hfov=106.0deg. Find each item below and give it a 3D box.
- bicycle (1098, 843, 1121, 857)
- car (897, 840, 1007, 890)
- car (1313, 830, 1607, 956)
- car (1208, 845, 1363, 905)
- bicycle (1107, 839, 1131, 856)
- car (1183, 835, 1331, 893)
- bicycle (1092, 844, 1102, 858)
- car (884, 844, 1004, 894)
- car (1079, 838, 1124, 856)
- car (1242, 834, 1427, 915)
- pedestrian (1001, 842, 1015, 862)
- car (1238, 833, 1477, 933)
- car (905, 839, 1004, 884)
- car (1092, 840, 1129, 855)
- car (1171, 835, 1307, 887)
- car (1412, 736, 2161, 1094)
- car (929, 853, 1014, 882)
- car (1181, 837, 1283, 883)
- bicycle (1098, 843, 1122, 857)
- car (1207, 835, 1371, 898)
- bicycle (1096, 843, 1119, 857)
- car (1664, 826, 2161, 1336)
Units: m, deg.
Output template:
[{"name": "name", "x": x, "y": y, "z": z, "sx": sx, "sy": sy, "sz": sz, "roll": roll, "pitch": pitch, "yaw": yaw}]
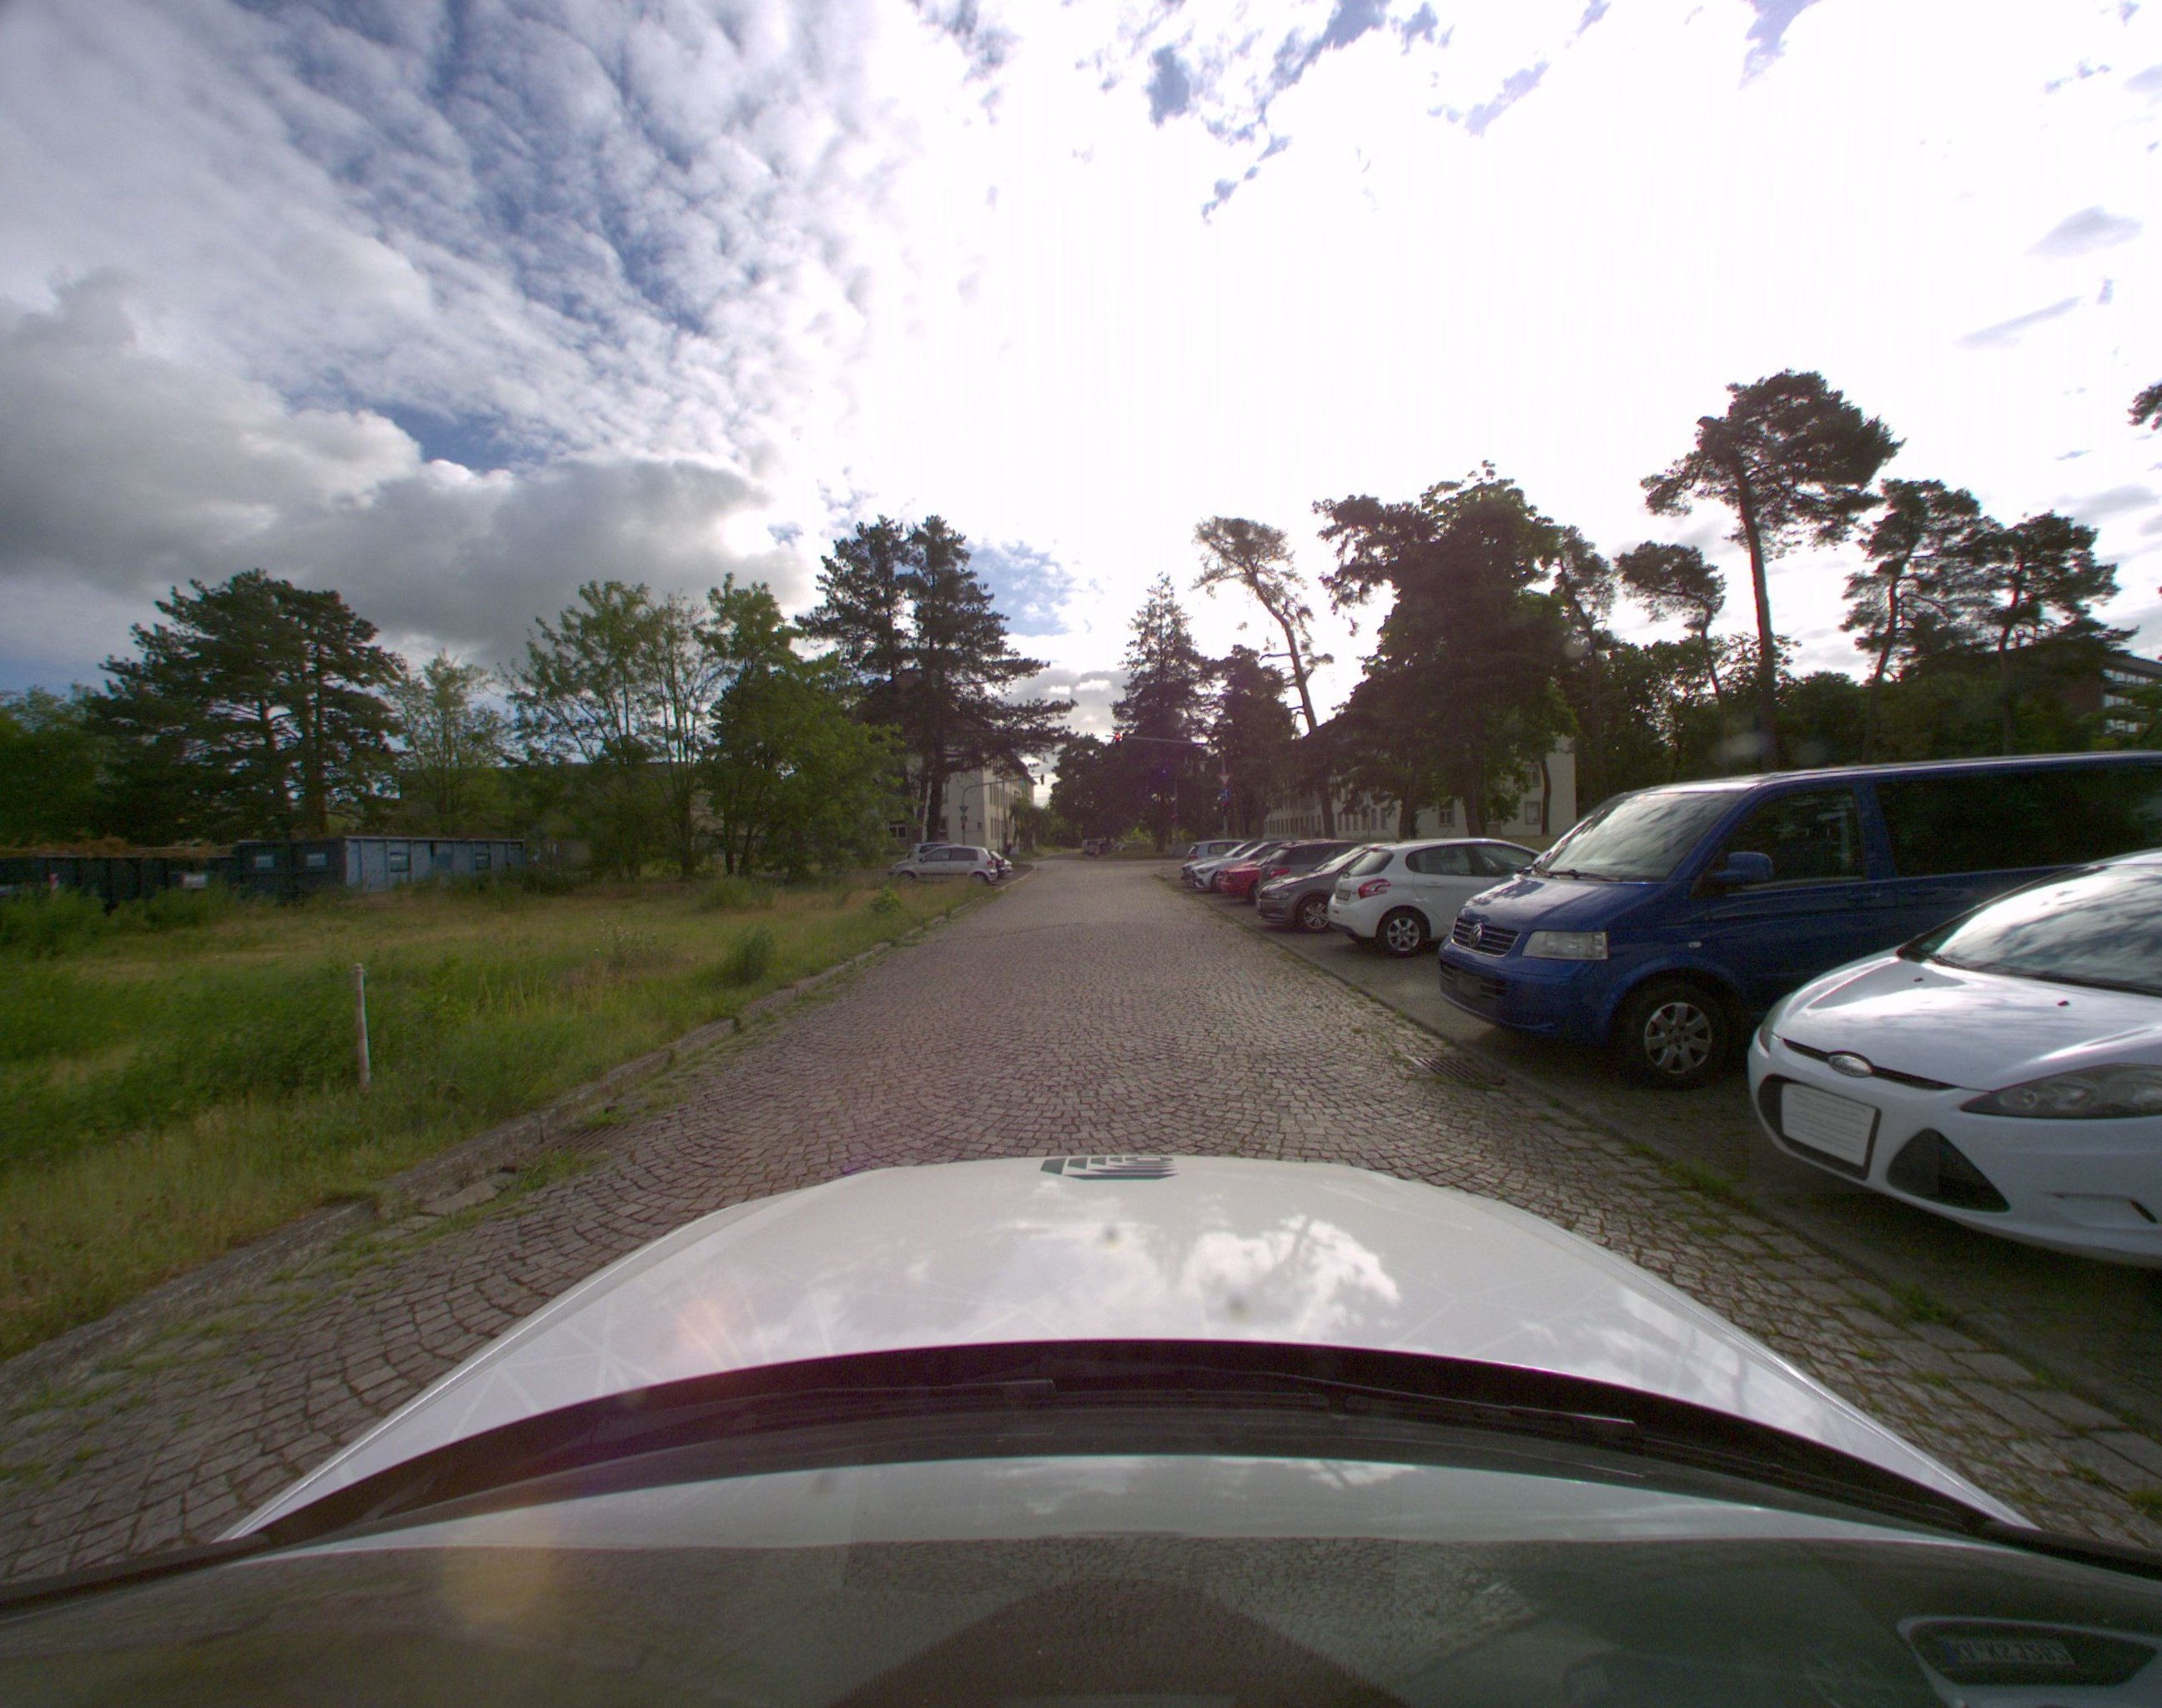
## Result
[{"name": "bicycle", "x": 2.792, "y": -0.418, "z": 79.204, "sx": 2.158, "sy": 1.268, "sz": 0.811, "roll": -1, "pitch": 1, "yaw": -6}, {"name": "car", "x": -4.878, "y": 0.385, "z": 31.321, "sx": 3.981, "sy": 1.705, "sz": 1.996, "roll": -2, "pitch": 1, "yaw": -6}, {"name": "car", "x": 5.086, "y": 0.474, "z": 11.224, "sx": 3.283, "sy": 1.504, "sz": 1.663, "roll": -2, "pitch": 1, "yaw": -2}, {"name": "car", "x": 4.912, "y": 0.473, "z": 19.774, "sx": 3.287, "sy": 1.267, "sz": 1.661, "roll": -2, "pitch": 1, "yaw": -6}, {"name": "bicycle", "x": 3.726, "y": -0.601, "z": 79.913, "sx": 2.158, "sy": 1.615, "sz": 0.811, "roll": -1, "pitch": 1, "yaw": -6}, {"name": "car", "x": 5.201, "y": 0.268, "z": 24.283, "sx": 3.981, "sy": 1.543, "sz": 1.661, "roll": -2, "pitch": 1, "yaw": -6}, {"name": "bicycle", "x": 1.490, "y": -0.297, "z": 74.858, "sx": 0.807, "sy": 1.268, "sz": 1.974, "roll": -1, "pitch": 1, "yaw": 2}, {"name": "car", "x": -4.771, "y": 0.500, "z": 28.831, "sx": 3.981, "sy": 1.552, "sz": 1.996, "roll": -2, "pitch": 1, "yaw": -6}, {"name": "car", "x": 2.447, "y": -0.863, "z": 96.439, "sx": 5.051, "sy": 2.013, "sz": 1.993, "roll": -1, "pitch": 1, "yaw": -10}, {"name": "car", "x": 5.253, "y": 0.384, "z": 17.058, "sx": 3.293, "sy": 1.504, "sz": 1.658, "roll": -2, "pitch": 1, "yaw": -10}, {"name": "pedestrian", "x": -5.672, "y": -0.143, "z": 63.191, "sx": 0.895, "sy": 1.498, "sz": 0.904, "roll": -1, "pitch": 1, "yaw": 1}, {"name": "car", "x": 4.745, "y": 0.448, "z": 14.179, "sx": 3.598, "sy": 1.506, "sz": 1.658, "roll": -2, "pitch": 1, "yaw": -10}, {"name": "car", "x": -5.282, "y": 0.302, "z": 34.377, "sx": 3.983, "sy": 1.749, "sz": 1.923, "roll": -1, "pitch": 1, "yaw": -7}, {"name": "car", "x": 3.370, "y": -0.728, "z": 93.162, "sx": 3.981, "sy": 1.644, "sz": 1.996, "roll": -1, "pitch": 1, "yaw": -6}, {"name": "car", "x": 5.212, "y": 0.218, "z": 27.068, "sx": 4.116, "sy": 1.543, "sz": 1.661, "roll": -2, "pitch": 1, "yaw": -6}, {"name": "car", "x": 5.078, "y": 0.333, "z": 5.758, "sx": 4.768, "sy": 2.039, "sz": 1.738, "roll": -2, "pitch": 1, "yaw": -1}, {"name": "car", "x": -4.858, "y": 0.589, "z": 36.549, "sx": 3.666, "sy": 1.093, "sz": 1.643, "roll": -2, "pitch": 1, "yaw": -6}, {"name": "car", "x": 5.473, "y": 0.192, "z": 29.638, "sx": 3.384, "sy": 1.543, "sz": 1.388, "roll": -2, "pitch": 1, "yaw": -6}, {"name": "bicycle", "x": 2.789, "y": -0.416, "z": 78.617, "sx": 2.158, "sy": 1.268, "sz": 0.811, "roll": -1, "pitch": 1, "yaw": -6}, {"name": "car", "x": 5.558, "y": 0.303, "z": 22.020, "sx": 3.981, "sy": 1.543, "sz": 1.661, "roll": -1, "pitch": 1, "yaw": -6}, {"name": "bicycle", "x": 2.572, "y": -0.419, "z": 80.418, "sx": 2.158, "sy": 1.268, "sz": 0.811, "roll": -1, "pitch": 1, "yaw": -6}, {"name": "car", "x": 4.828, "y": 0.623, "z": 3.342, "sx": 3.713, "sy": 1.424, "sz": 1.653, "roll": -3, "pitch": 1, "yaw": -2}]
